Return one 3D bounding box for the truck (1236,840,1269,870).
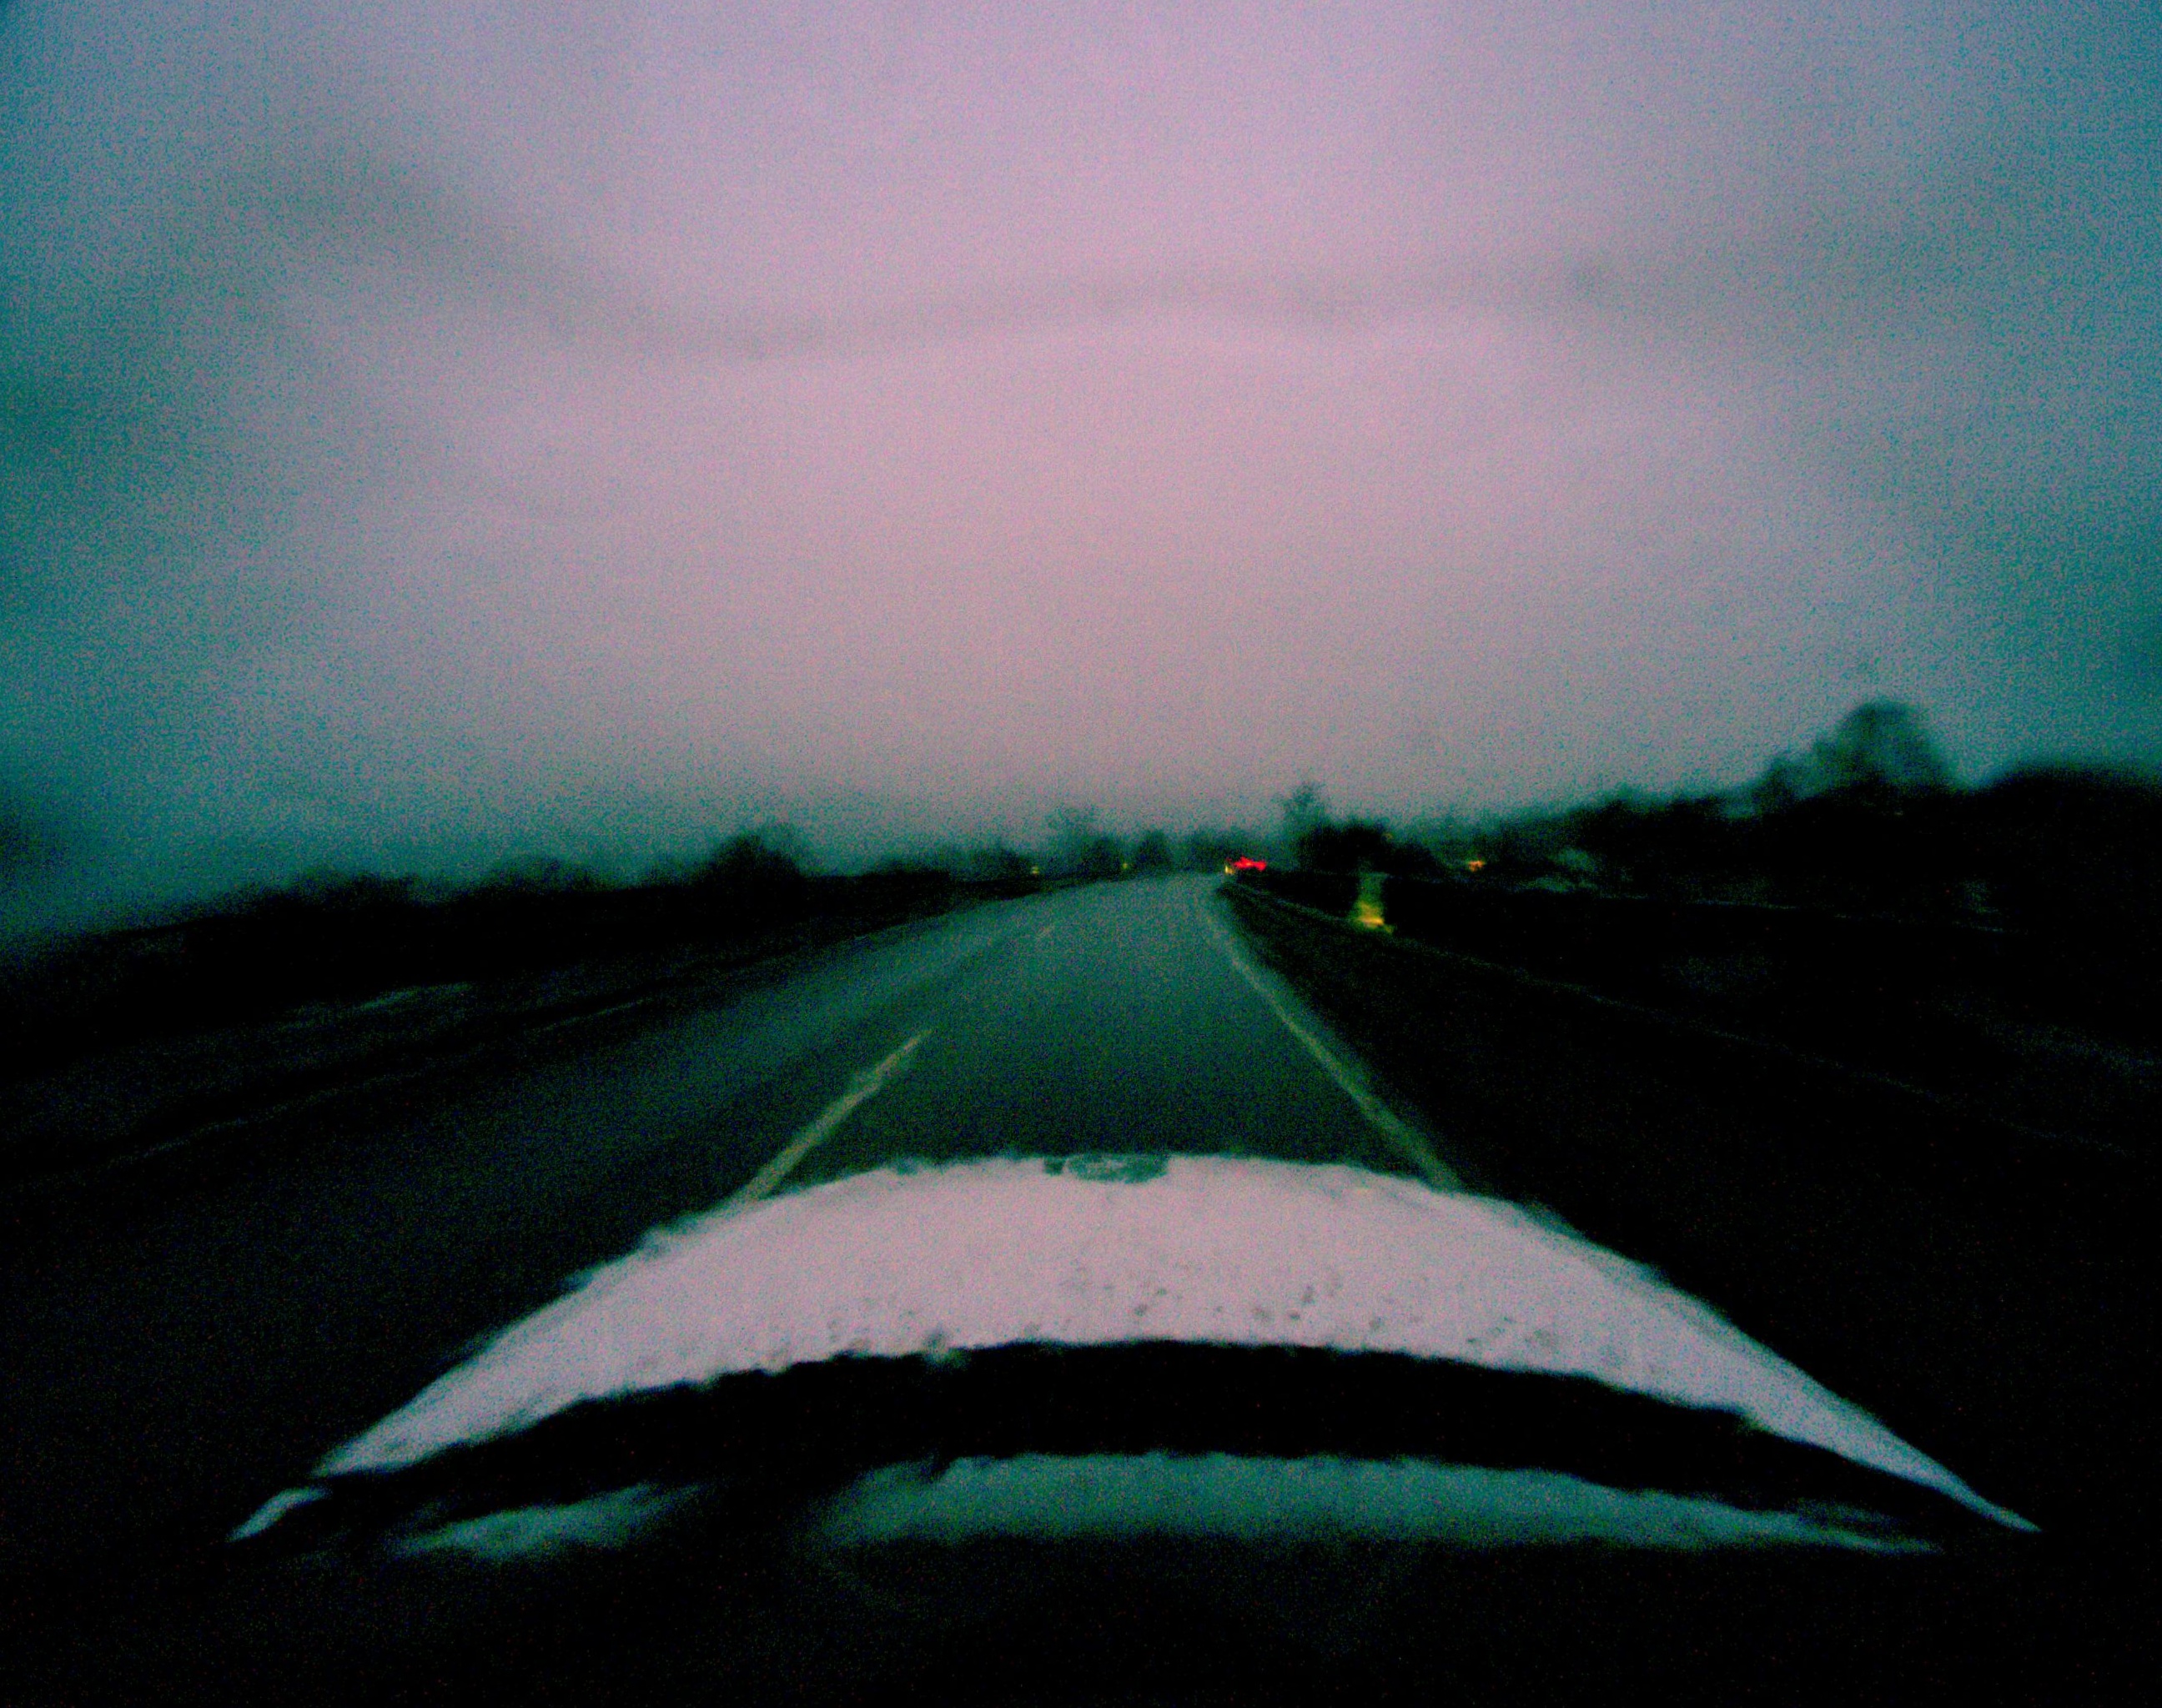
[{"bbox_3d":[16.575,0.100,78.608,2.512,2.869,5.949,0,0,17],"label":"truck"}]
